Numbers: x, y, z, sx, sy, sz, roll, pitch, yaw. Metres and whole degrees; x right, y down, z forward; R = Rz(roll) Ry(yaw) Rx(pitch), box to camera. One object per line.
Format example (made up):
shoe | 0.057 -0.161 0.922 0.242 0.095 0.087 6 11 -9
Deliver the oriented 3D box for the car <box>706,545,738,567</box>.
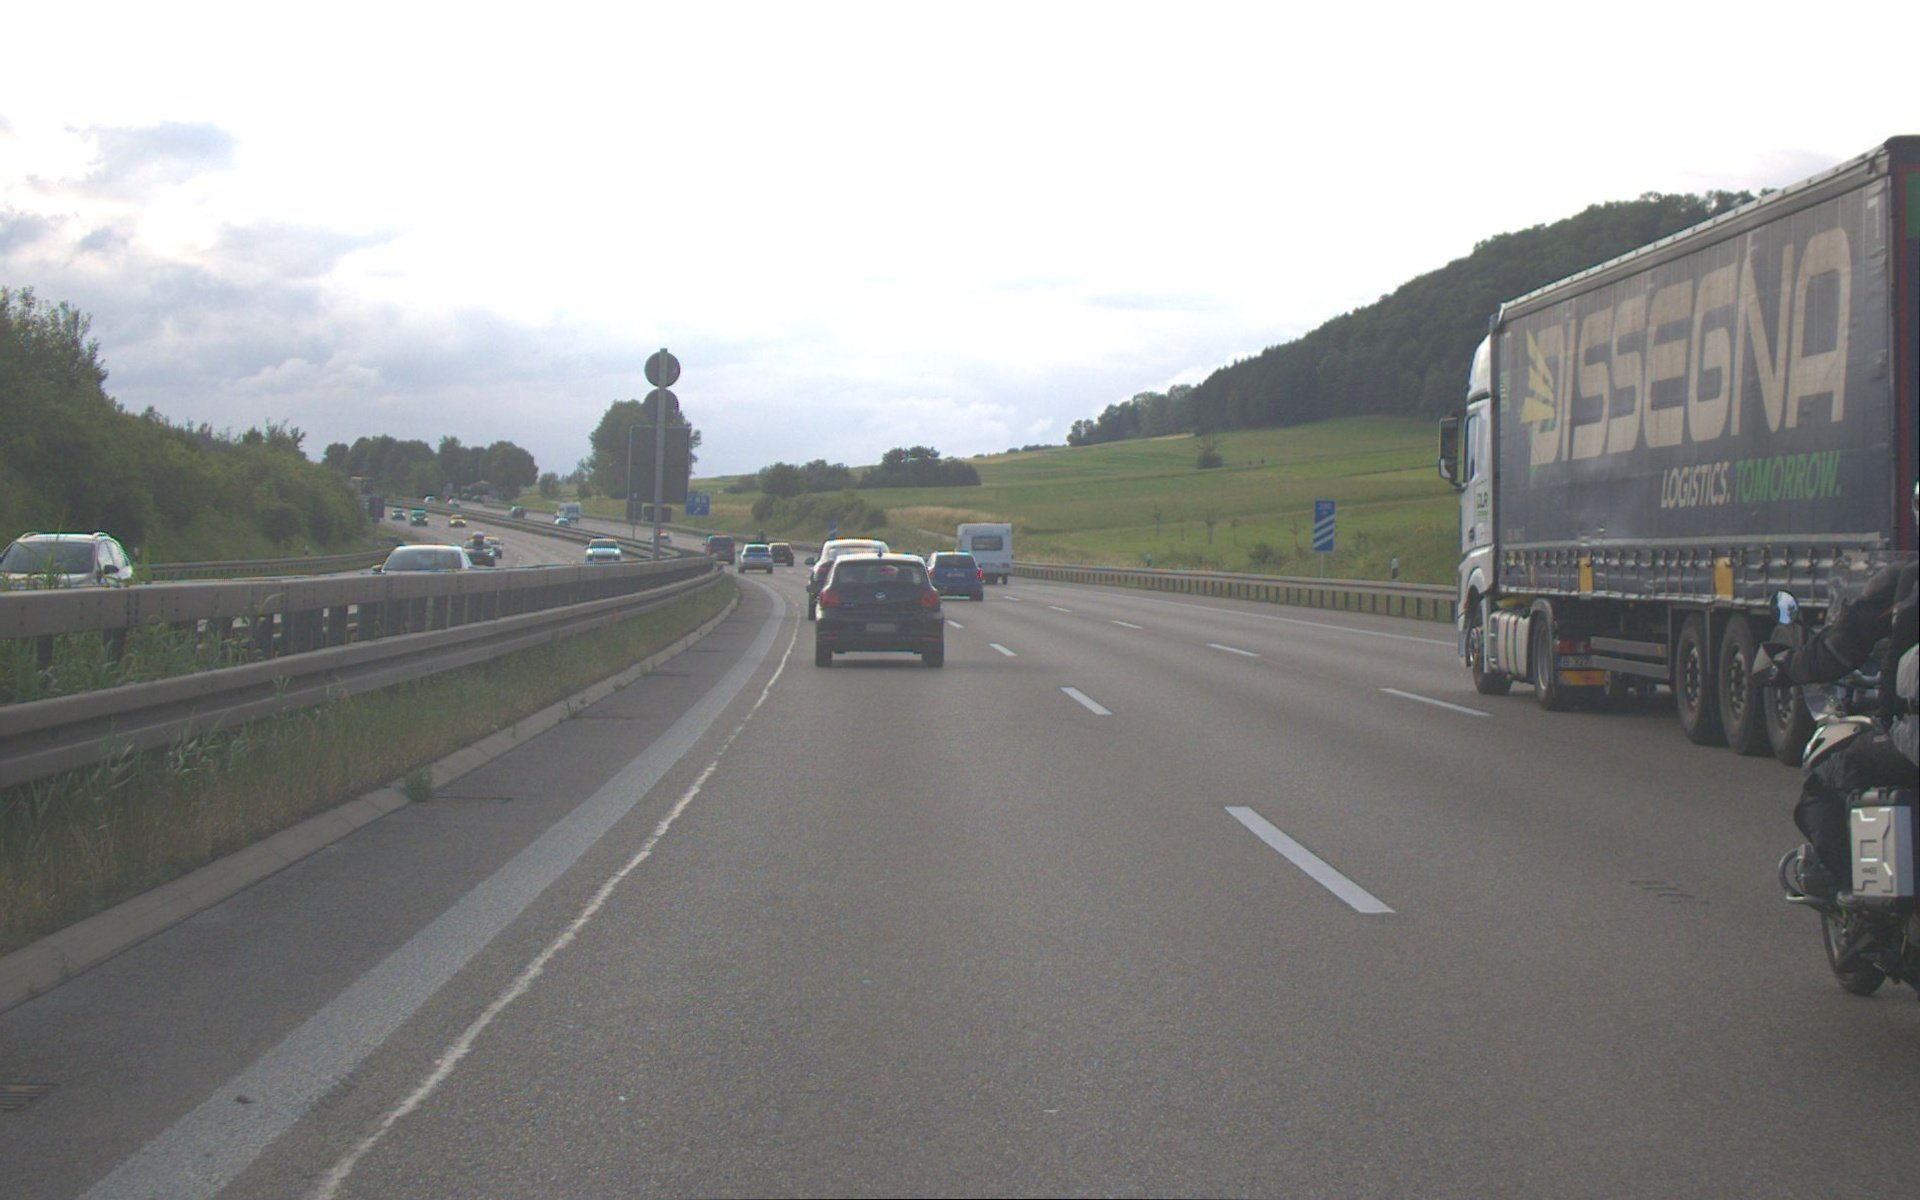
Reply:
car | -15.654 -2.917 226.444 1.766 1.428 4.001 1 1 -9

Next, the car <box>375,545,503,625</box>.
car | -9.501 -0.291 62.936 1.780 1.404 3.762 1 1 0

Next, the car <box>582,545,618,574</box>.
car | -20.403 -2.320 195.035 1.832 1.586 5.020 1 1 -4

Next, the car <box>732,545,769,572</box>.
car | -11.364 -2.239 186.084 1.766 1.428 4.001 1 1 -7

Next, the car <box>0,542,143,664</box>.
car | -12.958 0.014 49.089 1.643 1.650 4.345 1 1 -2

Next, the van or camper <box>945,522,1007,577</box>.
van or camper | 0.655 -2.114 144.350 2.548 2.232 5.329 1 1 0

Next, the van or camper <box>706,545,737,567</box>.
van or camper | -15.604 -2.884 225.115 1.966 1.428 4.001 1 1 -3

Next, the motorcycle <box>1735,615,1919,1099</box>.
motorcycle | 2.889 0.732 10.540 0.627 1.334 1.739 1 0 1

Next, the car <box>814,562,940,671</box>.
car | -1.056 0.192 45.156 1.538 1.343 3.677 1 1 0

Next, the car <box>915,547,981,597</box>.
car | -0.363 -0.831 101.525 1.766 1.428 4.001 1 1 -3

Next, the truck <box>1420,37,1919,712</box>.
truck | 6.767 -1.452 29.183 2.964 3.978 17.734 1 1 -1

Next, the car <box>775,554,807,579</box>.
car | -10.944 -2.161 222.760 1.957 1.568 4.000 1 1 -1

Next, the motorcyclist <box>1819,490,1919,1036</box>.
motorcyclist | 3.023 0.456 9.905 0.877 1.510 0.797 1 0 1
